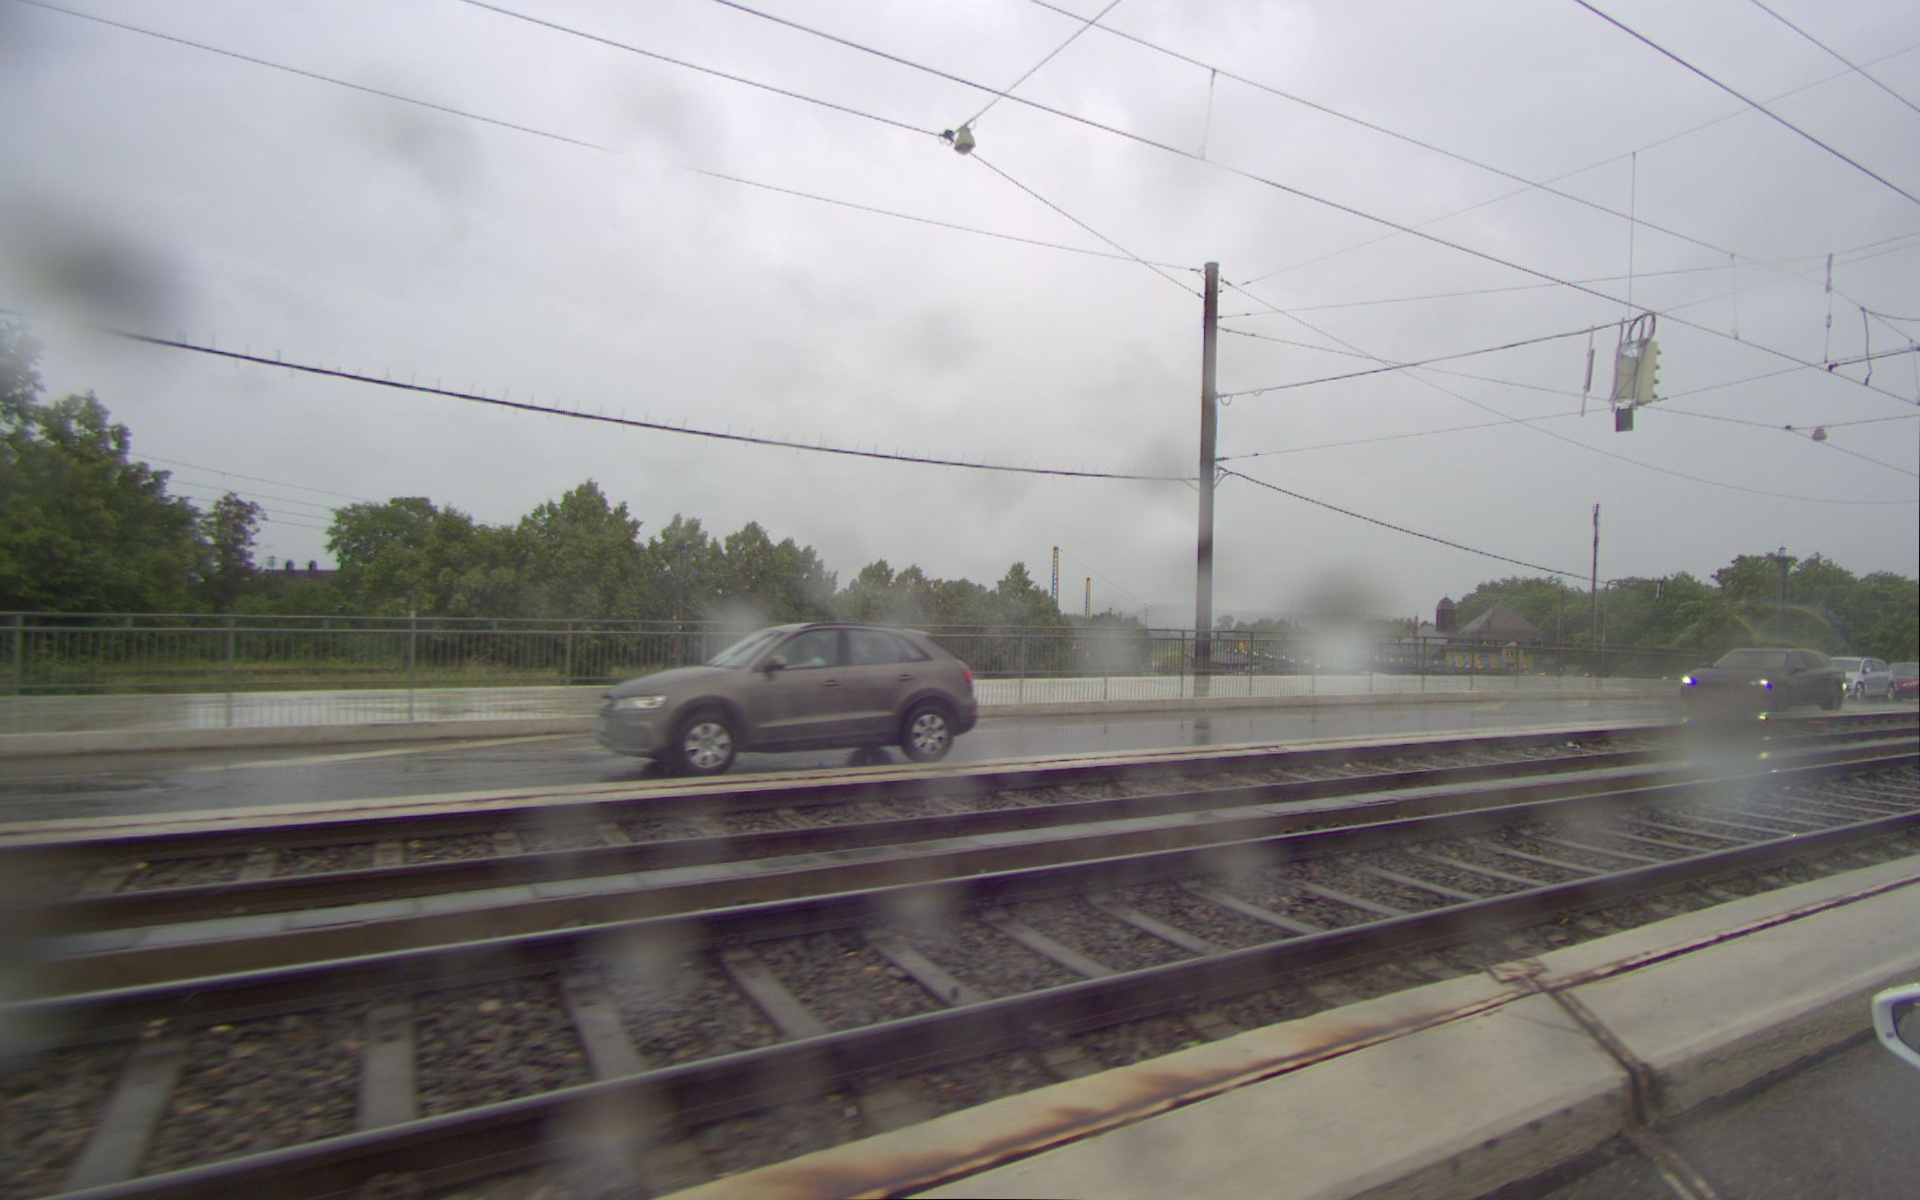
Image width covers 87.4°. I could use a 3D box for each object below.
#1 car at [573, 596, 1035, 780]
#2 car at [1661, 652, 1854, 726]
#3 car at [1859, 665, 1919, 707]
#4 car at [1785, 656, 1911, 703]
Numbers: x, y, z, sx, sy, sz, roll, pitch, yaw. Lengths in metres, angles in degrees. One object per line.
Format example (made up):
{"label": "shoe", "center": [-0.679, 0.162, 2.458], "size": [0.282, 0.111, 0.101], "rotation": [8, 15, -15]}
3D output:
{"label": "car", "center": [-1.705, 1.007, 11.622], "size": [4.885, 1.739, 1.984], "rotation": [4, -4, -31]}
{"label": "car", "center": [18.512, 2.058, 23.260], "size": [5.059, 1.528, 1.983], "rotation": [4, -4, -33]}
{"label": "car", "center": [35.096, 3.192, 37.111], "size": [4.274, 1.474, 1.612], "rotation": [4, -4, -31]}
{"label": "car", "center": [30.442, 2.734, 34.413], "size": [4.568, 1.474, 1.984], "rotation": [4, -4, -31]}
